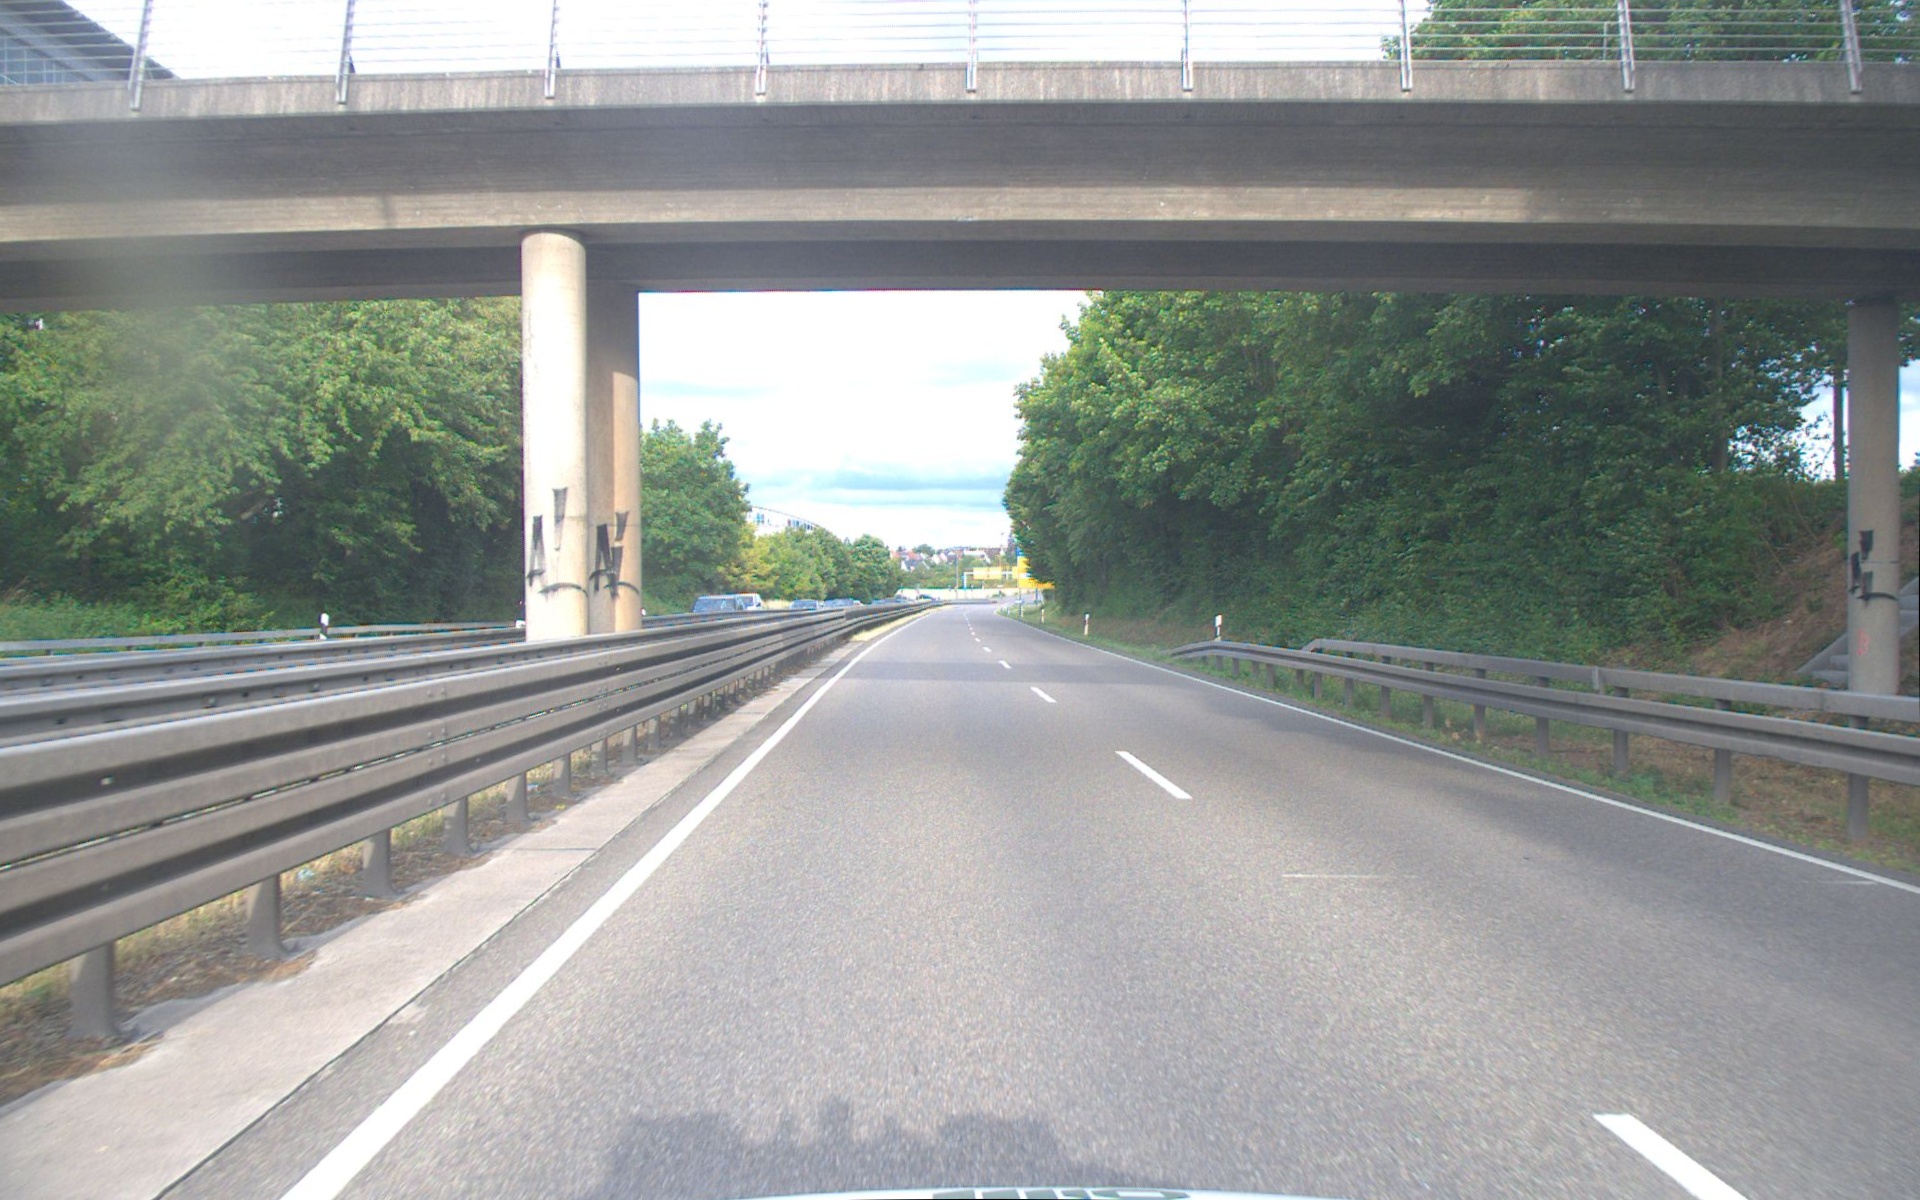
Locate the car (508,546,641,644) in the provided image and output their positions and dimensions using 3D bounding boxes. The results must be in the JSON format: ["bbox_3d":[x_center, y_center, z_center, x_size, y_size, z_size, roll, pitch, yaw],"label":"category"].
[{"bbox_3d":[-10.826,-0.149,47.076,2.204,2.581,6.940,0,0,0],"label":"car"}]

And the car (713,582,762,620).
[{"bbox_3d":[-11.260,0.043,83.966,1.829,1.888,4.623,0,0,1],"label":"car"}]
